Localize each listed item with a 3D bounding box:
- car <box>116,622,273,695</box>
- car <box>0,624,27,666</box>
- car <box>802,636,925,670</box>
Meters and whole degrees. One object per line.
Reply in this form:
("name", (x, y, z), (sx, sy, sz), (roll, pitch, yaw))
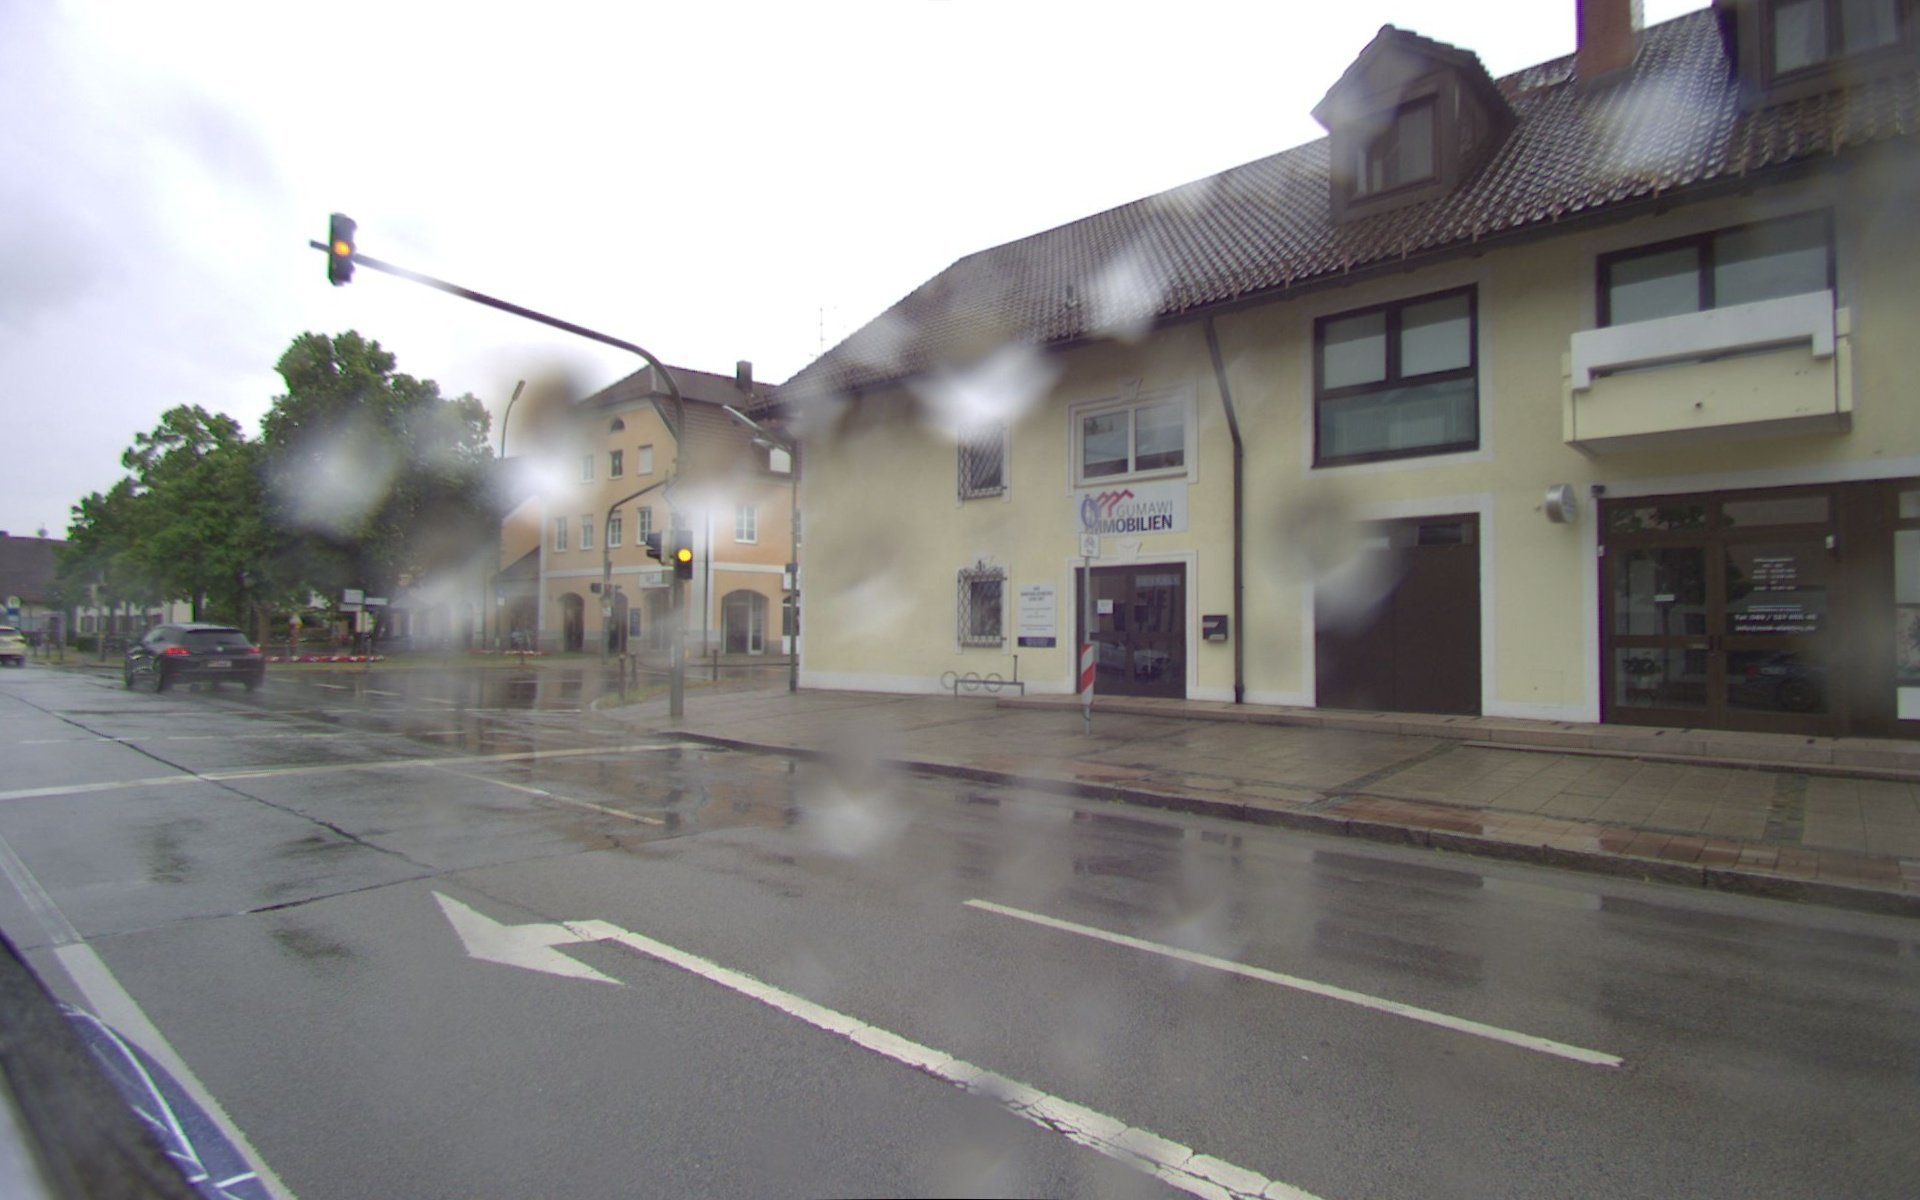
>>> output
("car", (-16.306, 1.198, 21.498), (3.883, 1.418, 1.975), (-1, -3, 43))
("car", (-36.791, 1.645, 38.144), (4.226, 1.523, 1.735), (-1, -4, 39))
("car", (-3.565, 1.969, 37.801), (4.287, 1.194, 1.694), (2, -2, -35))
